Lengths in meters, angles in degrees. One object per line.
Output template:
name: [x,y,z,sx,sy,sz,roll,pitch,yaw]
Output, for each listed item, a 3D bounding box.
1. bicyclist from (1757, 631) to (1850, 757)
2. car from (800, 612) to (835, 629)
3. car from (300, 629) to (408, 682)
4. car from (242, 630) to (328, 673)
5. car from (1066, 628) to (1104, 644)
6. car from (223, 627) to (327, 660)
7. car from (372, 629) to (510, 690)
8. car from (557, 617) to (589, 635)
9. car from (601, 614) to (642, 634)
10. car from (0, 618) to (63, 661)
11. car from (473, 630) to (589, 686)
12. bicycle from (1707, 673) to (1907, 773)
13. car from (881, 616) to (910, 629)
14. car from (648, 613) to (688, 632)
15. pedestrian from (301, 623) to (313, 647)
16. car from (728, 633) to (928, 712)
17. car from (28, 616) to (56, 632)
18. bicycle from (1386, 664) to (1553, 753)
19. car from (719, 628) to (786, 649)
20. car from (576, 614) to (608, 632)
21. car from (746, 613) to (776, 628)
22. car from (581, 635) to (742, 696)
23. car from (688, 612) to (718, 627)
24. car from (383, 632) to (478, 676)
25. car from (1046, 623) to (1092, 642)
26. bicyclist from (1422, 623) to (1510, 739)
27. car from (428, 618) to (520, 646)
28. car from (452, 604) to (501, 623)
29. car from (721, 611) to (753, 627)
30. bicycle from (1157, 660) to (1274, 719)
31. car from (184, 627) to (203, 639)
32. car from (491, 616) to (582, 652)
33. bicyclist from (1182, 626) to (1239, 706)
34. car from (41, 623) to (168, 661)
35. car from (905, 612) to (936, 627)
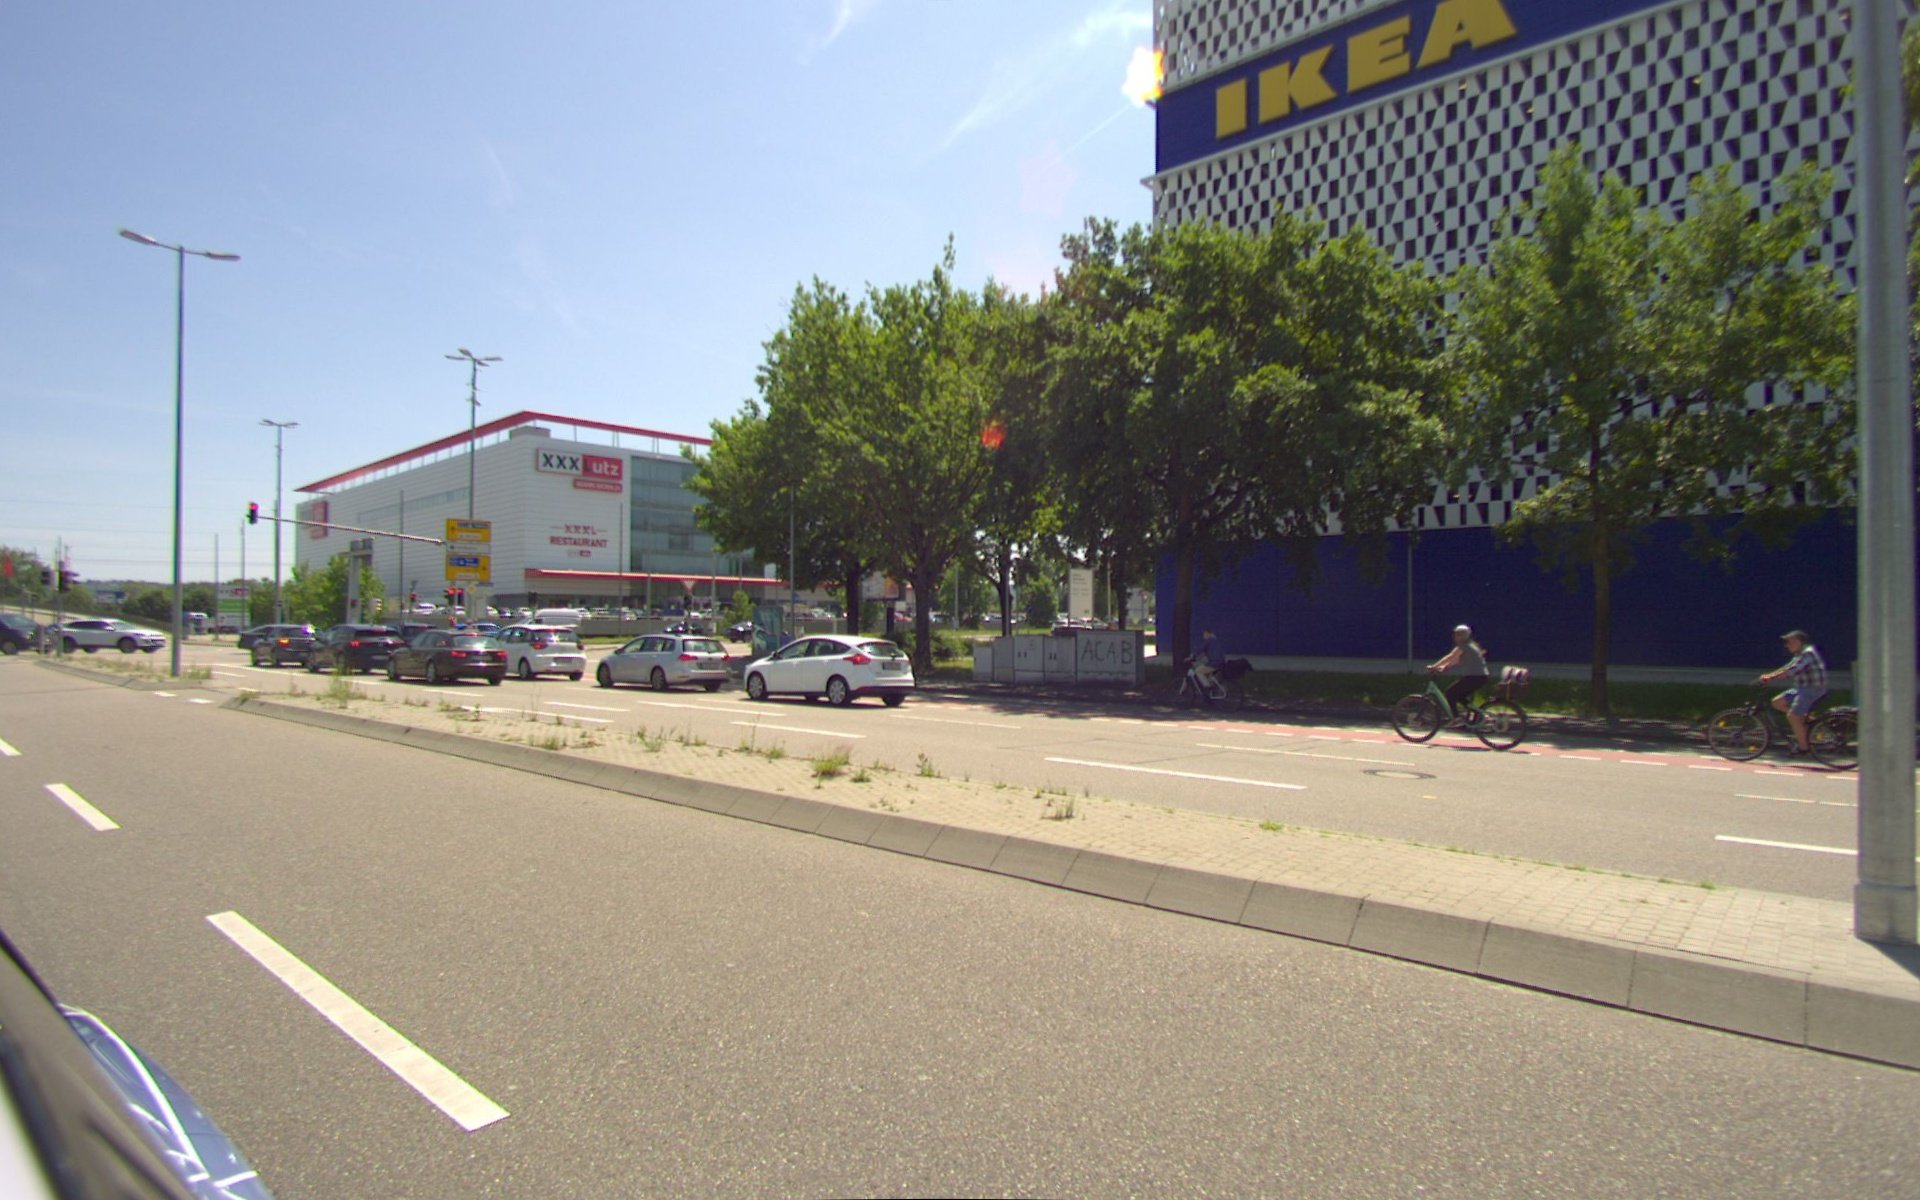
bicyclist: [11.143,1.211,13.378,0.884,1.594,0.630,-2,-2,43]
car: [-17.579,2.513,124.462,4.329,2.029,1.972,-1,-2,42]
car: [-19.086,1.704,31.789,4.243,1.517,1.708,-1,-4,42]
car: [-23.781,1.810,35.626,3.715,1.400,1.626,-1,-4,42]
car: [11.929,3.434,96.452,1.698,1.433,3.952,-3,-4,43]
car: [-32.539,2.030,48.191,4.020,1.392,1.776,1,2,-32]
car: [-14.010,1.546,27.173,4.719,1.457,1.708,-1,-3,42]
car: [-44.661,3.028,116.861,4.232,2.029,1.759,-1,-2,42]
car: [-34.954,2.497,104.569,4.324,2.029,1.974,-1,-2,38]
car: [-42.962,1.721,44.494,5.042,1.835,2.003,0,-1,-7]
car: [-13.064,1.724,30.732,3.914,1.556,1.708,-1,-2,41]
bicycle: [11.137,1.576,13.368,1.971,1.142,0.630,-1,-2,44]
car: [-8.471,2.963,132.735,3.646,1.771,1.761,-1,-2,40]
car: [-31.222,2.442,108.202,4.323,2.029,1.974,-1,-2,38]
pedestrian: [-48.979,2.604,75.861,0.596,1.797,0.827,2,-3,-44]
car: [-2.908,1.493,21.660,4.450,1.457,1.708,-1,-3,41]
car: [-100.668,2.615,110.926,4.001,1.719,1.971,-2,-2,44]
bicycle: [7.491,1.564,14.968,2.116,1.168,0.622,-1,-4,41]
car: [-14.259,2.656,69.778,1.677,1.415,4.403,-2,-3,43]
car: [-43.129,2.693,118.511,4.134,2.029,1.759,-1,-2,42]
car: [-26.248,2.759,133.455,4.000,1.915,1.972,-2,-2,43]
car: [-7.760,1.646,26.073,4.620,1.433,1.728,-2,-4,41]
car: [-34.017,2.589,134.094,3.999,2.029,1.972,-1,-2,42]
car: [-18.785,1.869,35.840,4.037,1.435,1.643,-1,-2,41]
car: [9.382,2.841,87.030,4.008,1.447,1.795,4,-6,-43]
bicyclist: [7.494,1.174,14.993,1.044,1.641,0.627,-1,-4,41]
car: [-27.103,1.788,56.514,4.360,1.413,1.774,-1,-1,-39]
car: [-52.017,1.461,108.972,1.679,2.029,4.409,-2,-3,44]
car: [-28.394,2.475,128.846,3.999,2.029,1.972,-1,-2,42]
bicycle: [5.526,1.916,22.006,2.435,1.134,0.731,-2,-2,45]
car: [-141.546,6.108,186.851,4.815,2.300,2.162,-2,-3,45]
car: [-27.191,2.176,65.091,4.973,2.200,2.002,1,-3,-44]
bicyclist: [5.463,1.411,22.086,0.952,1.698,0.736,-2,-2,45]
car: [-41.285,1.996,48.912,4.421,1.653,1.773,-1,-1,-7]
car: [-5.311,2.661,136.419,3.999,2.029,1.972,-1,-2,42]
